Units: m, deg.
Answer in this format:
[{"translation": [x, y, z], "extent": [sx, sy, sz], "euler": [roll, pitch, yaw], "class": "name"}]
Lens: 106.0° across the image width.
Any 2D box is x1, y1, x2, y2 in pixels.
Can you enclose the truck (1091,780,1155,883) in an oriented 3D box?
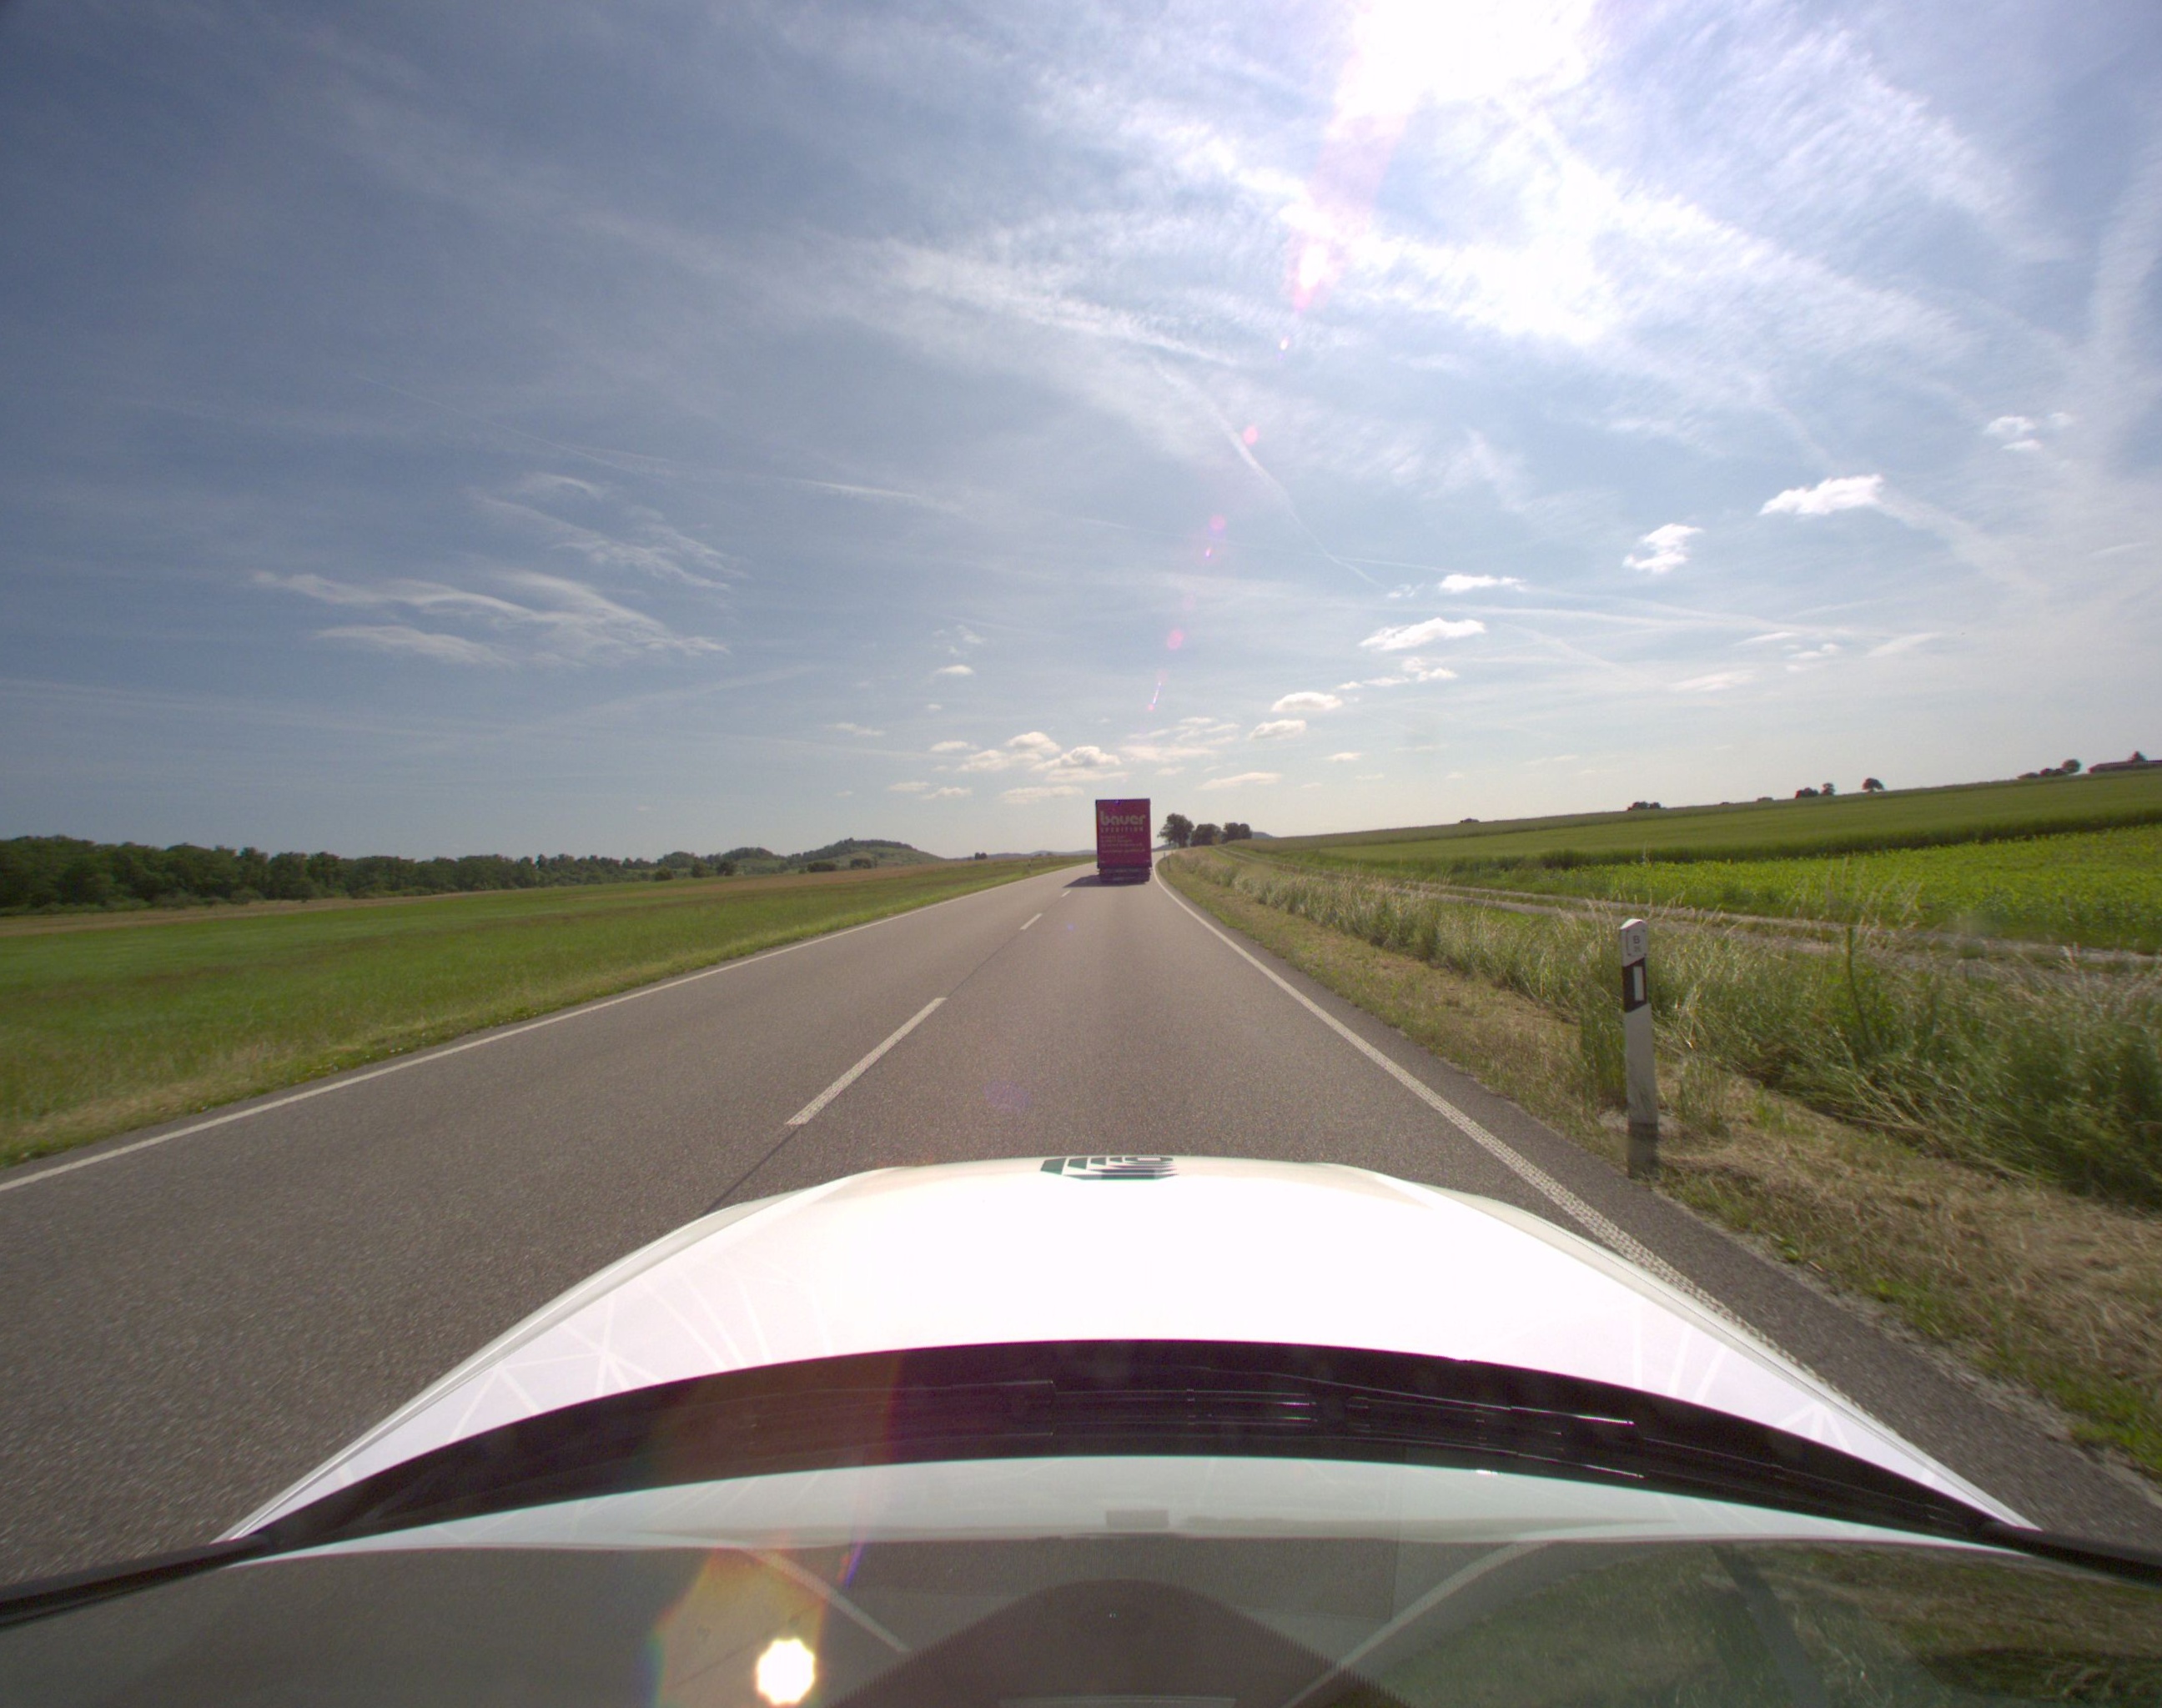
[{"translation": [2.231, -1.057, 41.964], "extent": [2.962, 4.713, 9.375], "euler": [0, 0, 4], "class": "truck"}]
